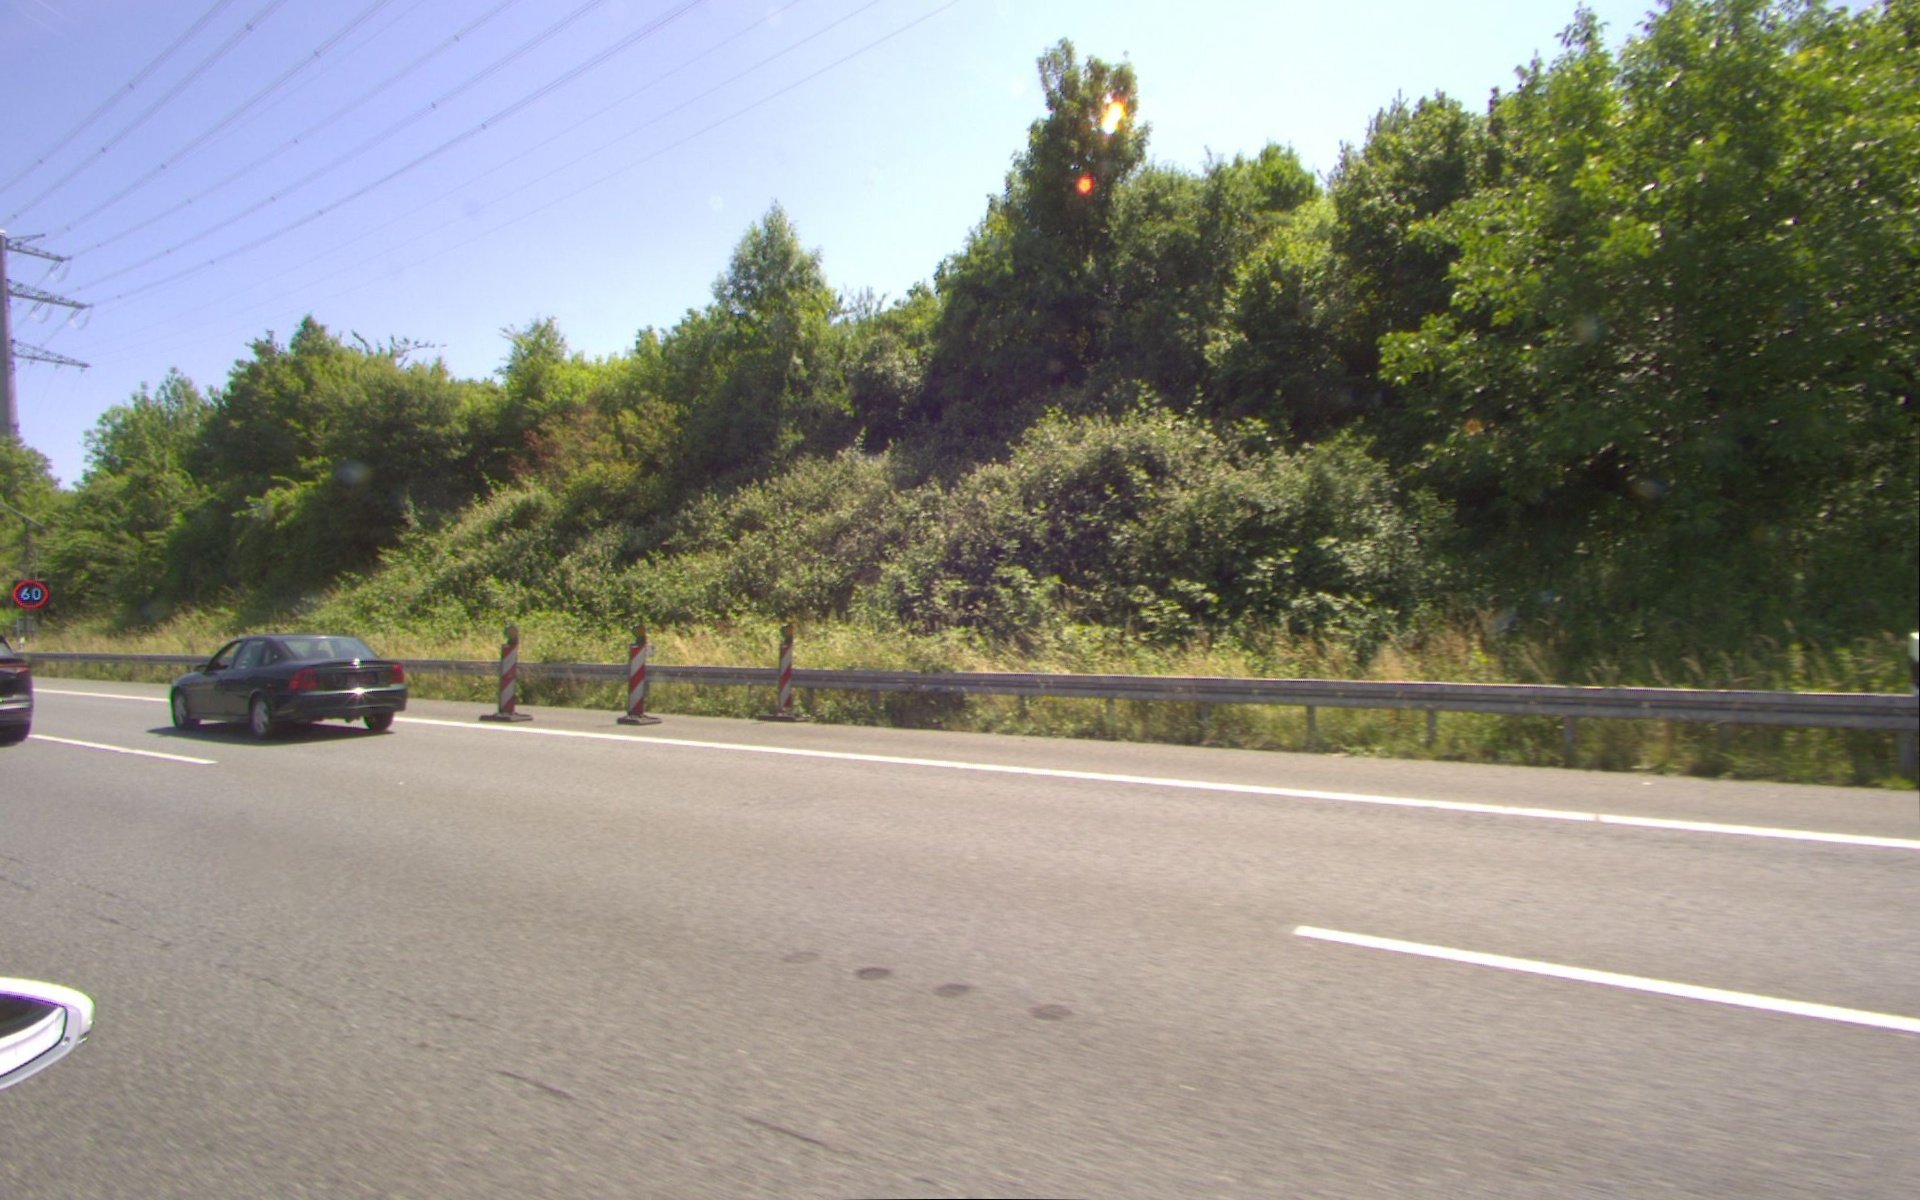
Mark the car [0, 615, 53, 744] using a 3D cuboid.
[{"bbox_3d":[-14.224,1.026,13.516,4.367,1.635,1.825,-1,-1,32],"label":"car"}]

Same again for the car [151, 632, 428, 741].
[{"bbox_3d":[-9.858,1.174,14.649,4.239,1.395,1.732,-1,-2,31],"label":"car"}]
